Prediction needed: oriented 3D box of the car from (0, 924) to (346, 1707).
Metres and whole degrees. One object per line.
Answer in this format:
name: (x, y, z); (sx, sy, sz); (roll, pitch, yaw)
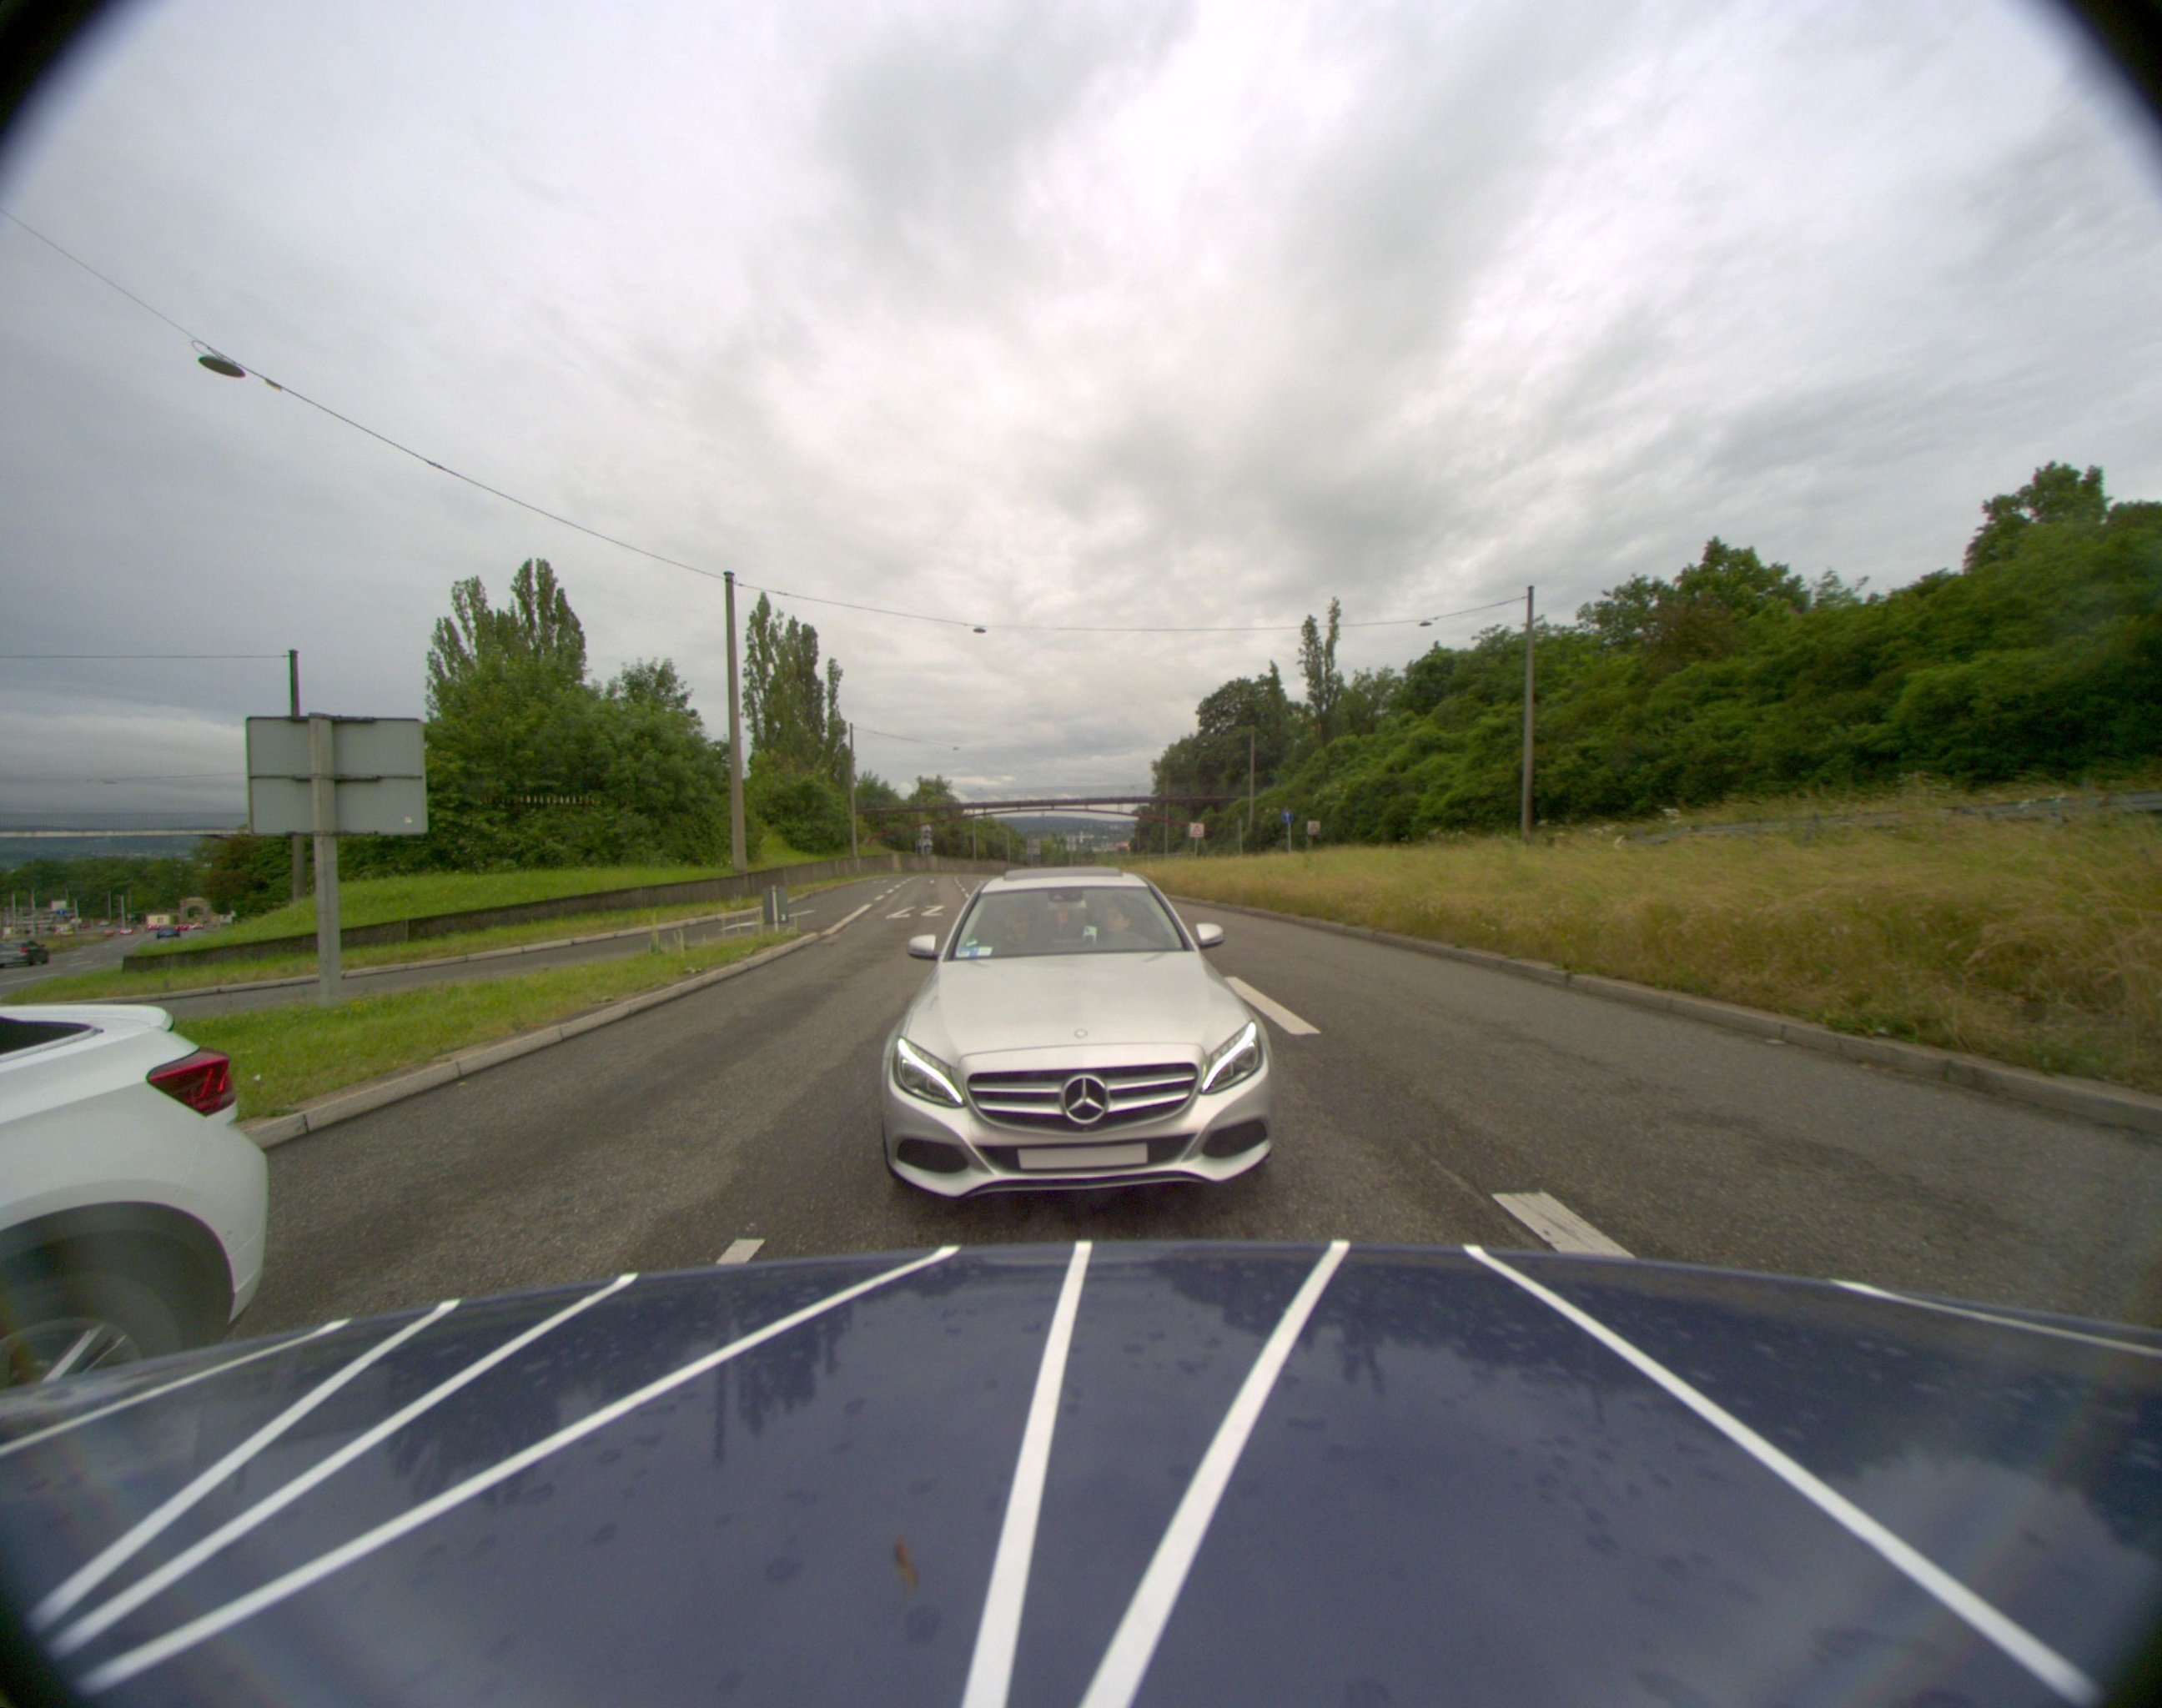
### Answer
car: (-3.098, 1.047, 0.149); (1.717, 1.544, 4.228); (-2, 1, 0)

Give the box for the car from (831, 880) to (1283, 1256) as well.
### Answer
car: (-0.085, 0.988, 5.312); (1.895, 1.361, 4.134); (-2, 1, 0)

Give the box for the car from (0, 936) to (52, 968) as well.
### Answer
car: (-56.647, 5.216, 40.661); (4.071, 1.412, 1.688); (-4, 0, 38)
